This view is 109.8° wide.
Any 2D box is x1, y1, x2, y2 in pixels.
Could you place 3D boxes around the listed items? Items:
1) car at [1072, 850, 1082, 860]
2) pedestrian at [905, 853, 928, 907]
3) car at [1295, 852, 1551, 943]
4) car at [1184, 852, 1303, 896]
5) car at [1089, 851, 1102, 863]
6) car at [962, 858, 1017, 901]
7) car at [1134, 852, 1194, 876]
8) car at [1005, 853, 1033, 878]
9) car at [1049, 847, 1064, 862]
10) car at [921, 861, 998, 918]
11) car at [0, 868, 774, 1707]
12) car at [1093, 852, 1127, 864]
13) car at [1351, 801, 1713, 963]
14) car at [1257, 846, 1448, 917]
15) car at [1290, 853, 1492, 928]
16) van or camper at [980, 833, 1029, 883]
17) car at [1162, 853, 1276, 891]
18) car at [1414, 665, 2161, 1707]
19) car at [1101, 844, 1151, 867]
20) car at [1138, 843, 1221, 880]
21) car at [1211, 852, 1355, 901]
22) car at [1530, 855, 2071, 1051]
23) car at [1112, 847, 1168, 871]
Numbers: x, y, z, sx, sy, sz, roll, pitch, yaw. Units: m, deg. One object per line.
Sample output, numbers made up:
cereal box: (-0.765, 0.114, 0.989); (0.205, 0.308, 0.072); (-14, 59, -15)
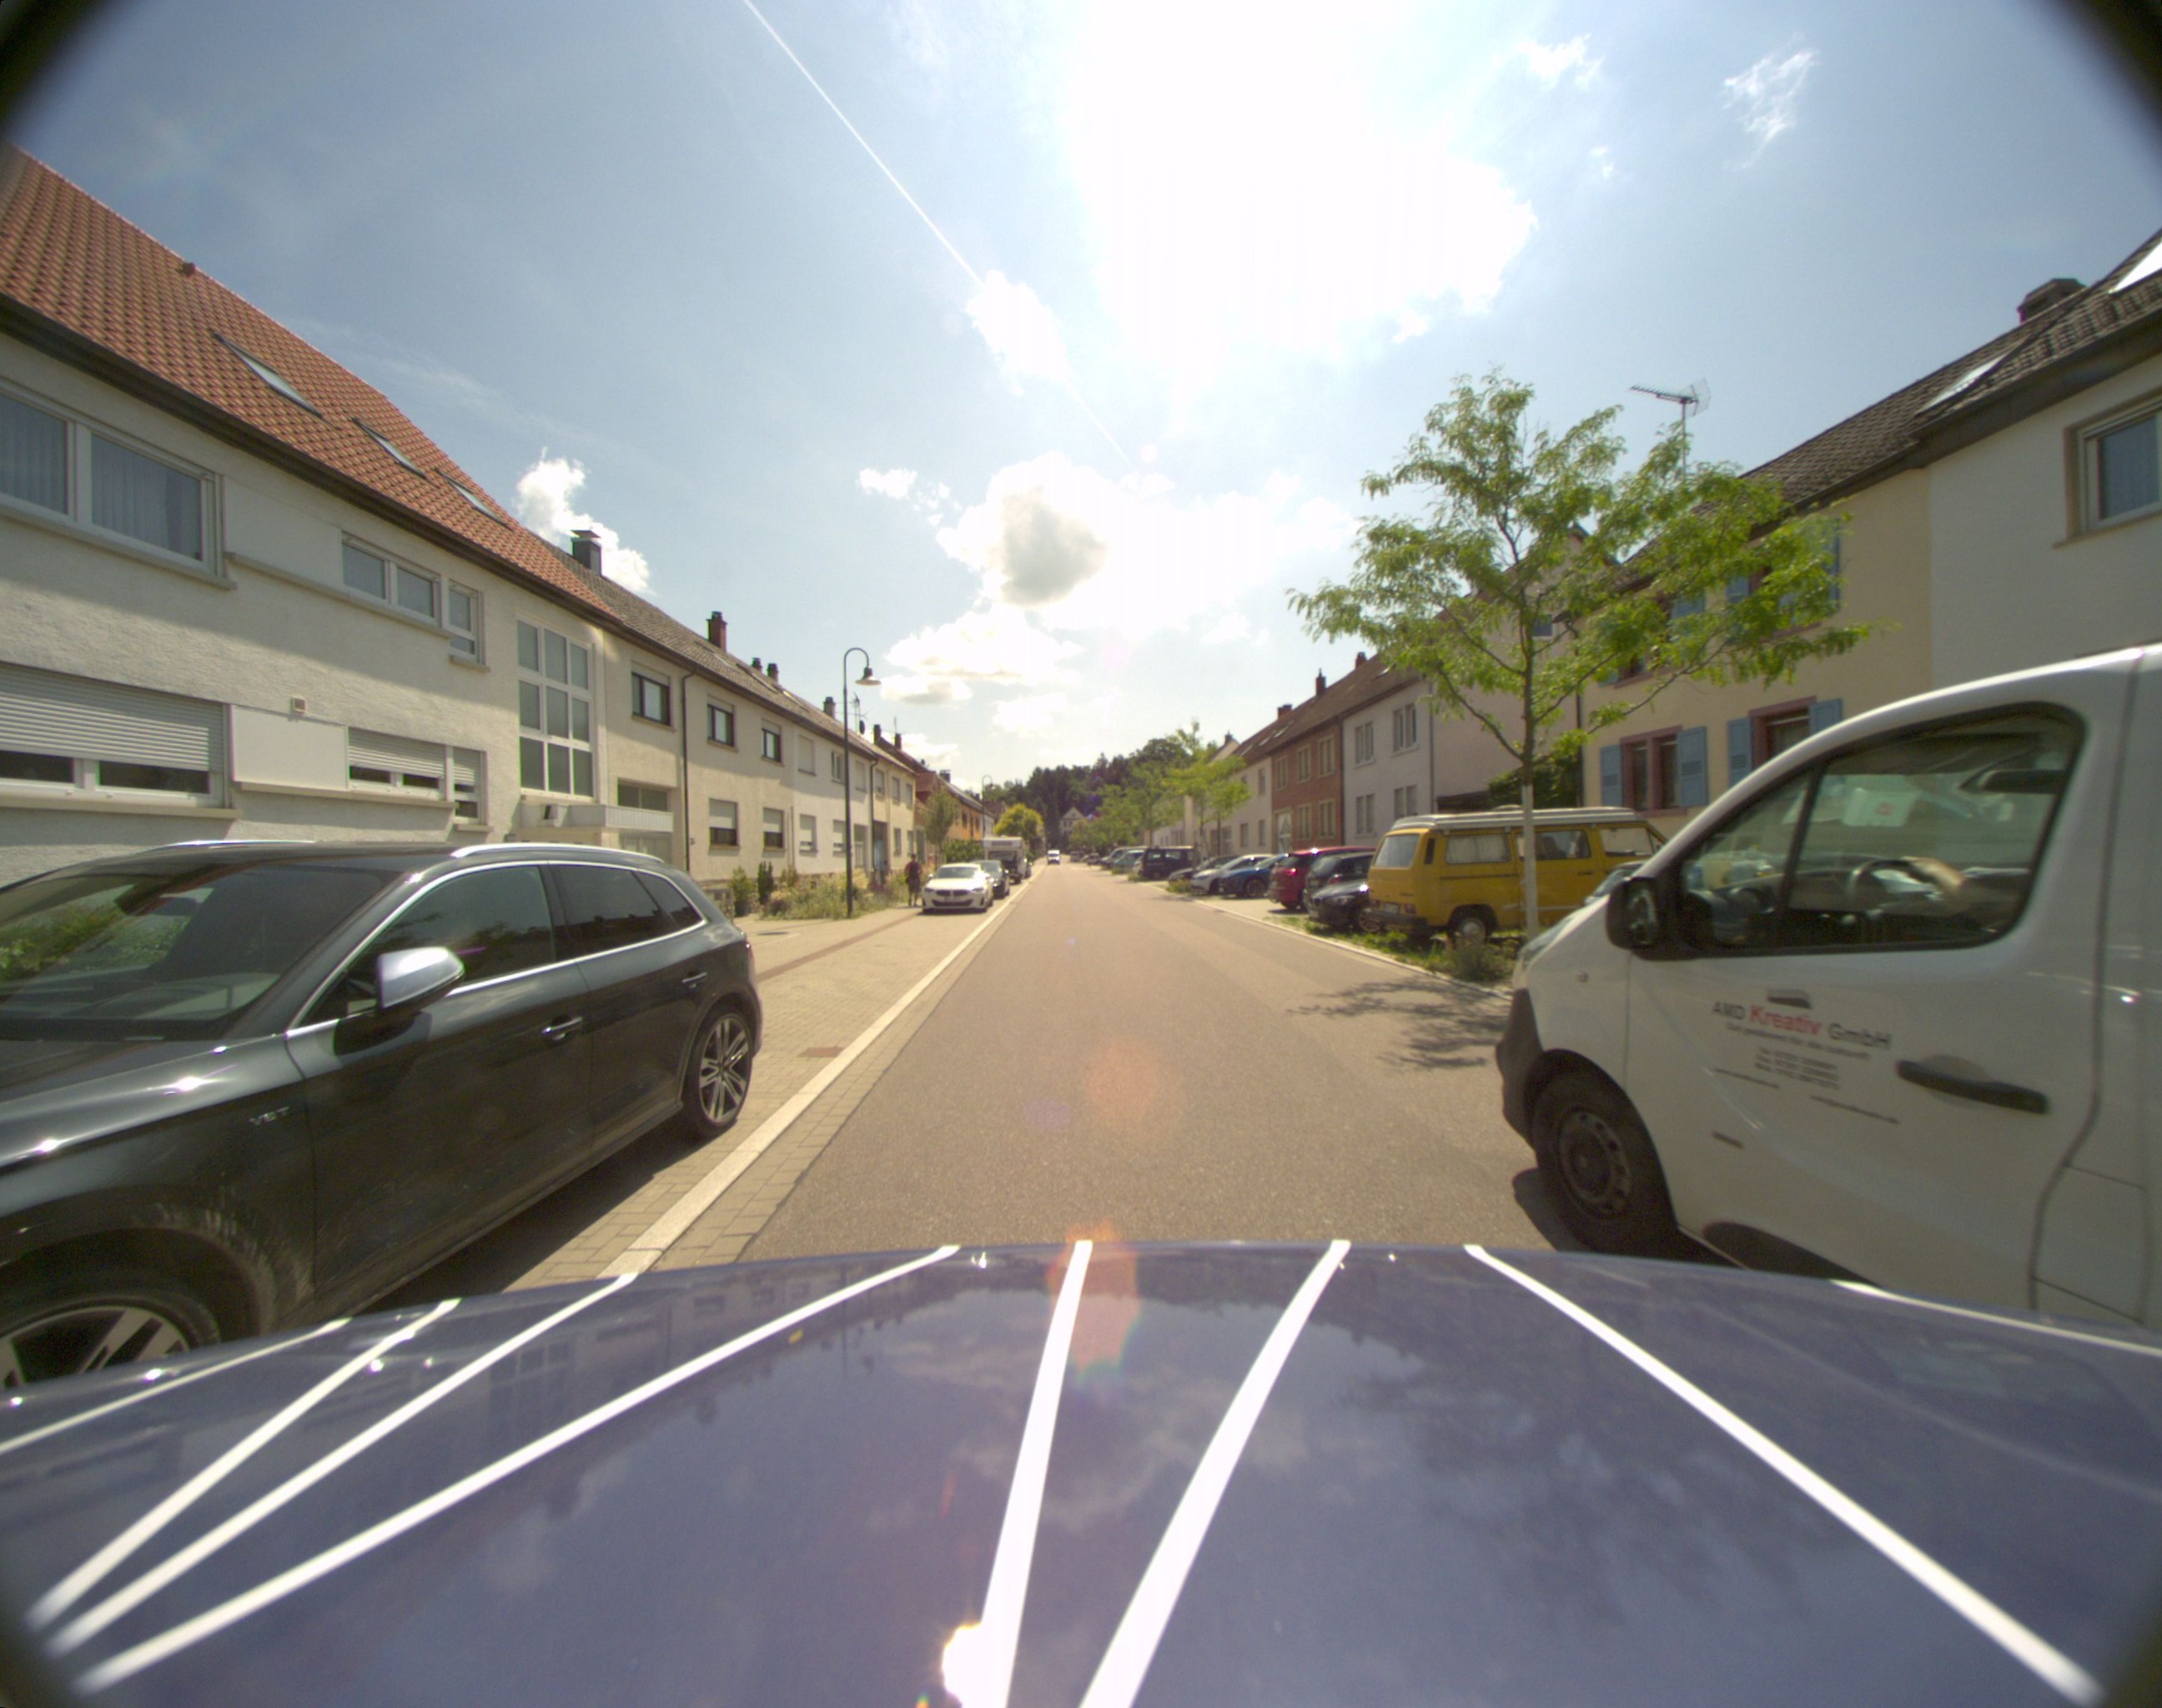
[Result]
car: (-0.879, 0.199, 159.997); (1.999, 1.968, 3.998); (-1, 1, -2)
pedestrian: (-5.410, 0.853, 25.008); (0.559, 1.739, 0.673); (-1, 1, -1)
car: (6.318, 0.771, 14.338); (4.020, 1.451, 1.755); (-2, 0, -2)
car: (6.157, 0.745, 29.061); (4.065, 1.469, 1.775); (-2, 0, -4)
car: (2.150, 0.522, 116.485); (1.844, 1.737, 4.686); (-3, -1, 0)
car: (-3.569, 0.951, 30.315); (1.771, 1.520, 4.006); (-1, 0, -1)
car: (5.720, 0.655, 52.576); (3.926, 1.480, 1.772); (-2, 0, 0)
car: (-4.490, 0.829, 55.629); (1.771, 1.695, 4.324); (-1, 0, -1)
car: (-4.144, 0.088, 128.362); (2.490, 2.306, 5.598); (-3, 1, -2)
car: (-3.584, 0.995, 23.185); (1.837, 1.457, 4.518); (-1, 0, -3)
car: (-2.916, 0.901, 2.592); (1.869, 1.626, 4.446); (1, 0, 1)
car: (3.962, 0.556, 104.645); (4.599, 1.508, 1.901); (-2, 0, -2)
car: (6.878, 0.394, 11.946); (4.520, 2.164, 1.925); (-2, 1, -2)
car: (6.984, 0.686, 19.819); (4.265, 1.602, 1.842); (-2, 0, -2)
car: (6.902, 0.773, 17.137); (3.802, 1.451, 1.754); (-2, 0, -4)
van or camper: (-4.468, 0.241, 45.287); (2.480, 2.793, 5.789); (0, 0, -2)
car: (5.898, 0.741, 32.847); (4.536, 1.417, 1.795); (-2, 0, -2)
car: (2.696, 0.663, 1.193); (2.028, 1.939, 4.896); (-1, 1, -3)
car: (4.890, 0.181, 82.872); (5.181, 2.275, 2.156); (-3, 1, -4)
car: (5.818, 0.433, 45.360); (4.624, 1.985, 1.953); (-2, 1, 0)
car: (6.900, 0.741, 26.157); (4.416, 1.469, 1.775); (-2, 0, -5)
car: (6.901, 0.822, 7.479); (4.085, 1.459, 1.752); (-2, 0, -10)
car: (5.146, 0.438, 66.493); (4.689, 1.896, 1.999); (-3, 1, -1)
